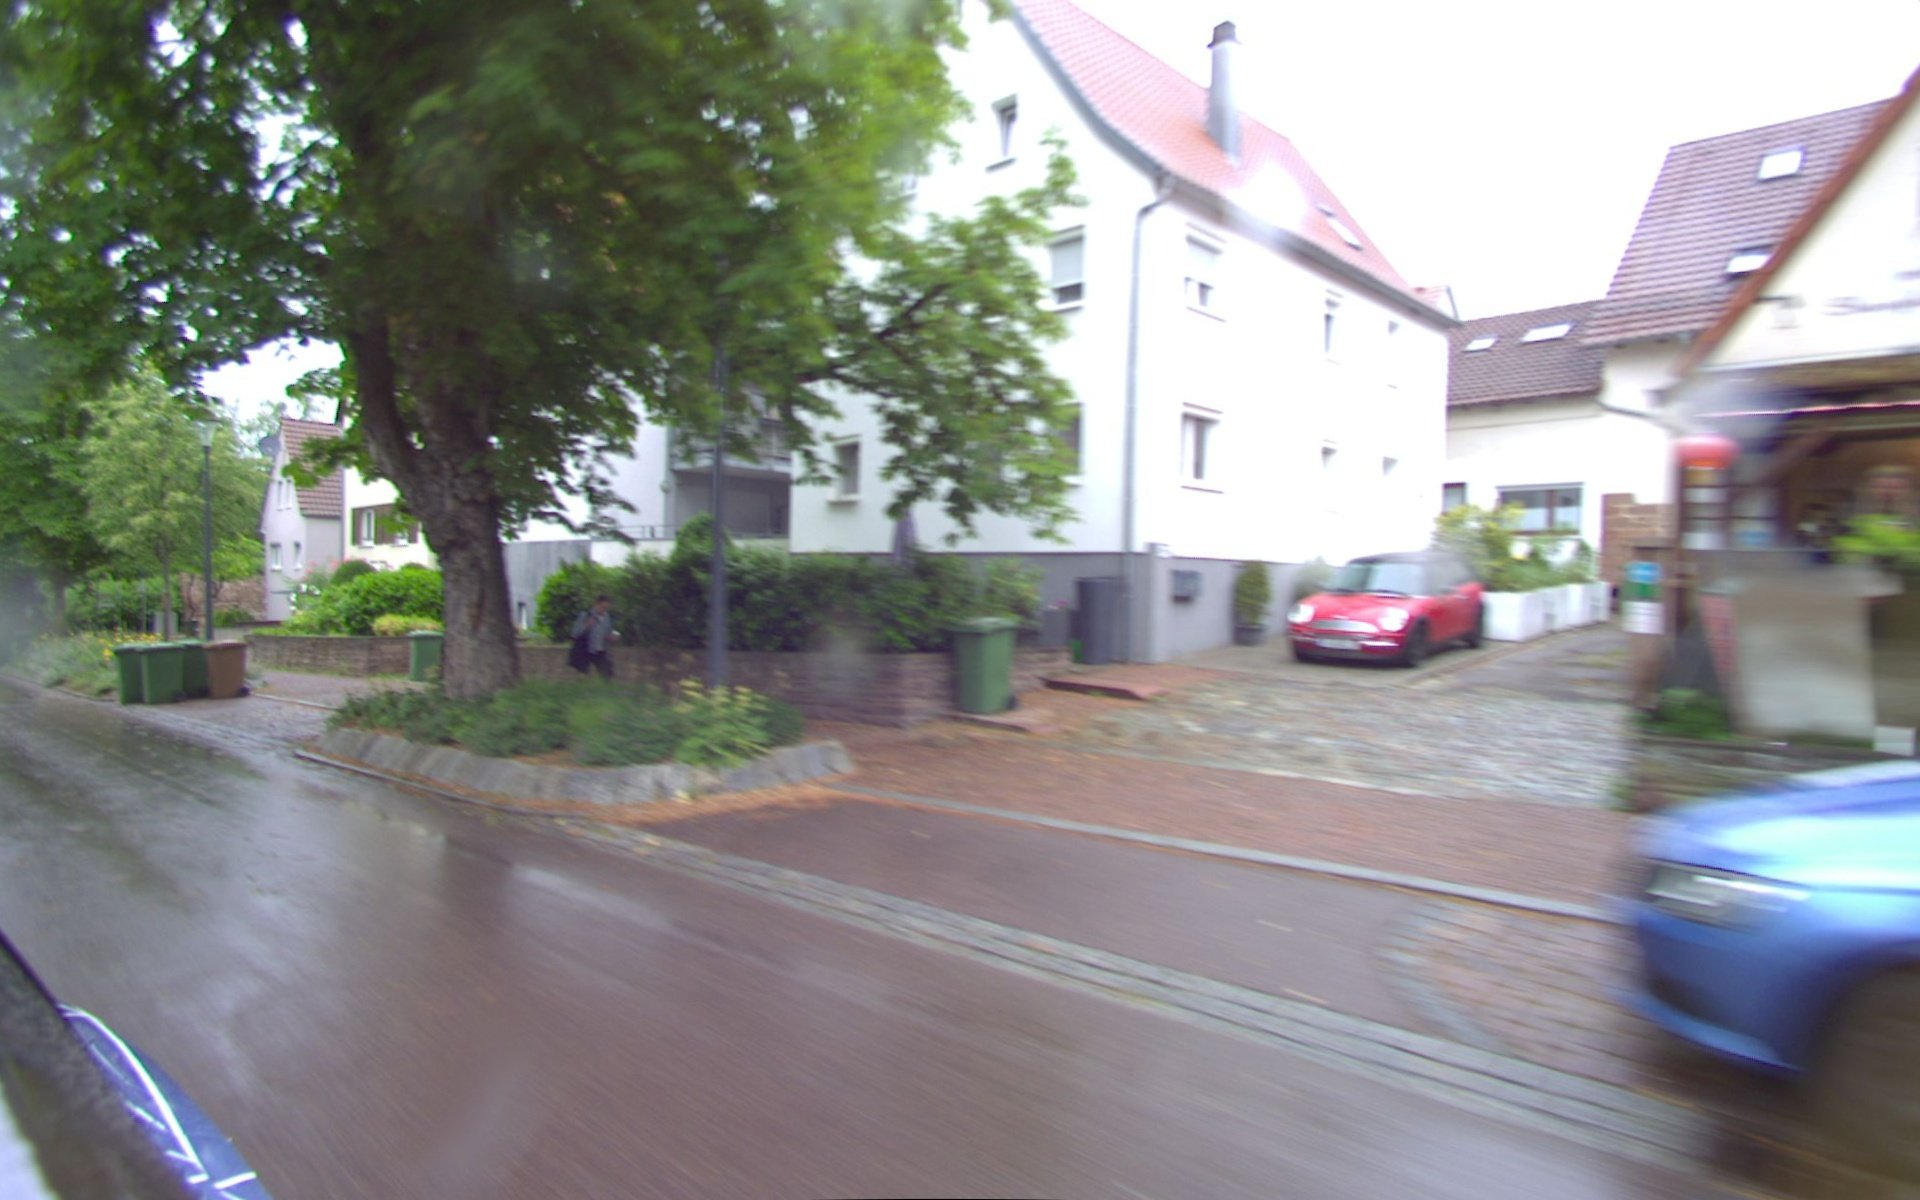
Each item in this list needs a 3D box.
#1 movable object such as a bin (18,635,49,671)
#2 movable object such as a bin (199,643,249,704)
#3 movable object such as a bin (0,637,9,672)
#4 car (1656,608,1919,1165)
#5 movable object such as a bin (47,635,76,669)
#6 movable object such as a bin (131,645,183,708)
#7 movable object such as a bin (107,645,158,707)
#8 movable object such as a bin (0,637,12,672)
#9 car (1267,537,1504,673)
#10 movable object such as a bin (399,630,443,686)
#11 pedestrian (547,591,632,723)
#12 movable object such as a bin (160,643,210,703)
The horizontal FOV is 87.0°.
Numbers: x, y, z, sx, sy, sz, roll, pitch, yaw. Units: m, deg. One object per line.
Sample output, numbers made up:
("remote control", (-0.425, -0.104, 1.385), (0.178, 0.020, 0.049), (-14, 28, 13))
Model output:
("movable object such as a bin", (-29.624, 1.685, 32.364), (0.568, 1.067, 0.611), (-1, 1, 40))
("movable object such as a bin", (-13.677, 1.354, 18.806), (0.655, 1.082, 0.596), (1, -1, -45))
("movable object such as a bin", (-30.681, 1.739, 32.123), (0.564, 1.067, 0.621), (-1, 1, 40))
("car", (4.021, 0.719, 2.331), (3.795, 1.406, 1.731), (-1, -1, 42))
("movable object such as a bin", (-29.201, 1.683, 32.888), (0.560, 1.067, 0.611), (-1, 1, 40))
("movable object such as a bin", (-14.397, 1.358, 18.141), (0.655, 1.075, 0.596), (1, -1, -45))
("movable object such as a bin", (-15.037, 1.368, 18.386), (0.655, 1.082, 0.596), (1, -1, -45))
("movable object such as a bin", (-30.159, 1.721, 31.712), (0.570, 1.085, 0.578), (-1, 1, 39))
("car", (6.023, -0.051, 14.129), (1.891, 1.507, 3.670), (2, 6, 43))
("movable object such as a bin", (-11.517, 1.221, 21.621), (0.659, 1.141, 0.655), (-1, -1, 43))
("pedestrian", (-4.730, 0.696, 12.897), (0.931, 1.606, 0.643), (-1, -1, 41))
("movable object such as a bin", (-14.526, 1.354, 18.962), (0.655, 1.082, 0.596), (1, -1, -45))
